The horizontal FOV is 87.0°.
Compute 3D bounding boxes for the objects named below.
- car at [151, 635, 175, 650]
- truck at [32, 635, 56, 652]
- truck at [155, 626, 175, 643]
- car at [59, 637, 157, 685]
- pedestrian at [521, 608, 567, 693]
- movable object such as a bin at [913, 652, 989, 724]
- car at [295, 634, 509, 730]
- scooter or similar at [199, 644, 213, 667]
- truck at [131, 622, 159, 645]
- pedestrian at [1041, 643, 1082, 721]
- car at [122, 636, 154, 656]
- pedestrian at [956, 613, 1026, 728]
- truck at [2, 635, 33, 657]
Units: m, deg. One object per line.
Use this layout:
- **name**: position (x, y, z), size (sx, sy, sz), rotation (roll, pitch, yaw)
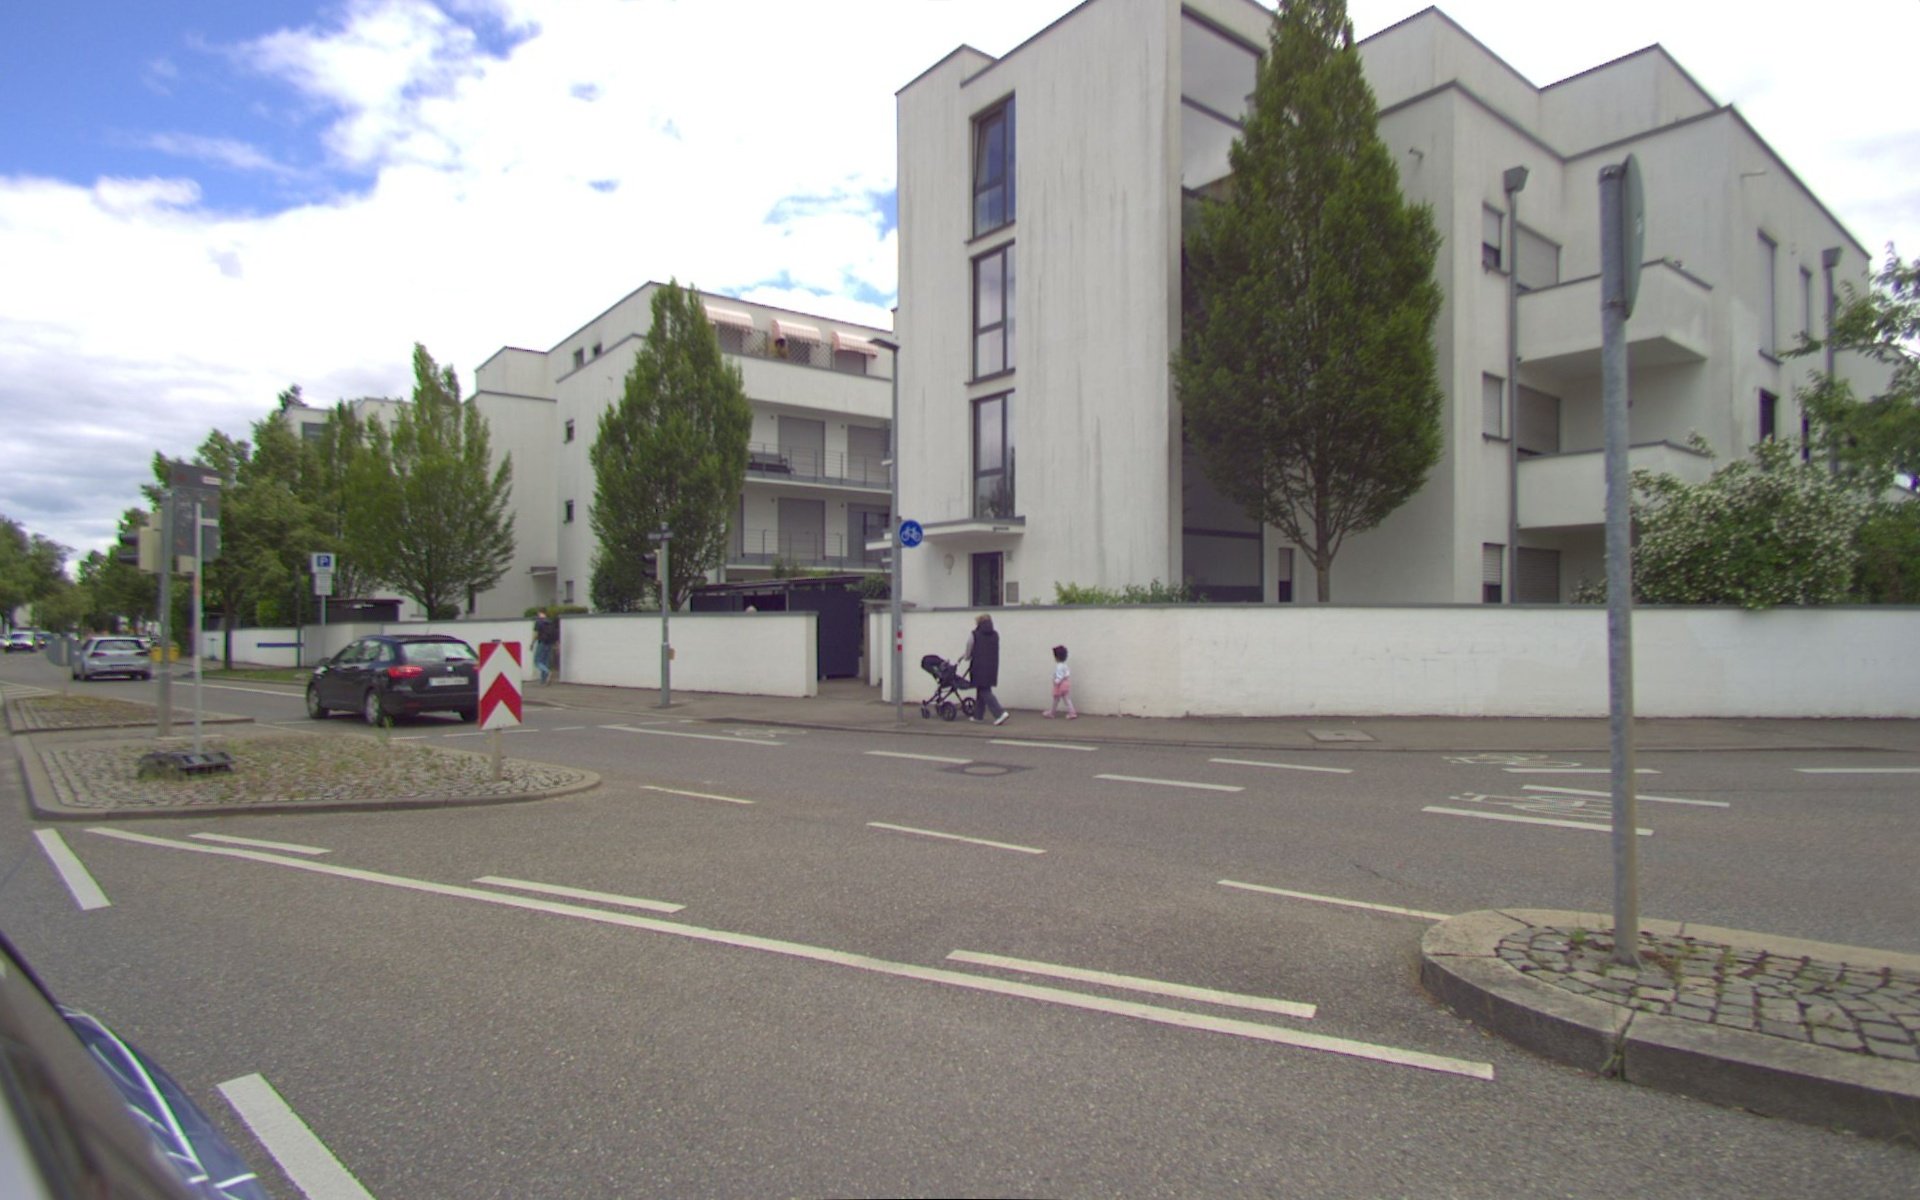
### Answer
- **car**: position (-85.597, 4.557, 108.750), size (1.860, 1.628, 4.009), rotation (1, -3, -37)
- **truck**: position (-93.689, 4.415, 103.517), size (1.594, 1.671, 4.007), rotation (2, -3, -39)
- **truck**: position (-123.601, 5.349, 157.250), size (1.970, 2.564, 4.502), rotation (1, -2, -44)
- **car**: position (-28.332, 1.976, 33.612), size (3.944, 1.455, 1.780), rotation (-2, -2, 39)
- **pedestrian**: position (-9.972, 1.189, 24.248), size (0.871, 1.962, 0.641), rotation (-1, 1, 41)
- **movable object such as a bin**: position (-0.136, 1.284, 14.972), size (0.985, 0.967, 0.492), rotation (-2, 2, 39)
- **car**: position (-9.284, 1.284, 16.748), size (3.913, 1.402, 1.704), rotation (-1, -3, 38)
- **scooter or similar**: position (-40.847, 3.003, 54.824), size (0.428, 1.174, 1.328), rotation (-3, 0, -43)
- **truck**: position (-103.213, 4.241, 128.230), size (2.601, 2.794, 6.269), rotation (1, -2, -38)
- **pedestrian**: position (1.454, 1.169, 14.533), size (0.443, 1.070, 0.322), rotation (-2, 0, 39)
- **car**: position (-70.142, 3.921, 86.379), size (1.887, 1.665, 4.009), rotation (1, -3, -37)
- **pedestrian**: position (0.437, 0.981, 14.347), size (0.731, 1.554, 0.526), rotation (-2, 2, 38)
- **truck**: position (-79.076, 3.831, 84.916), size (1.590, 1.804, 4.007), rotation (2, -3, -39)
